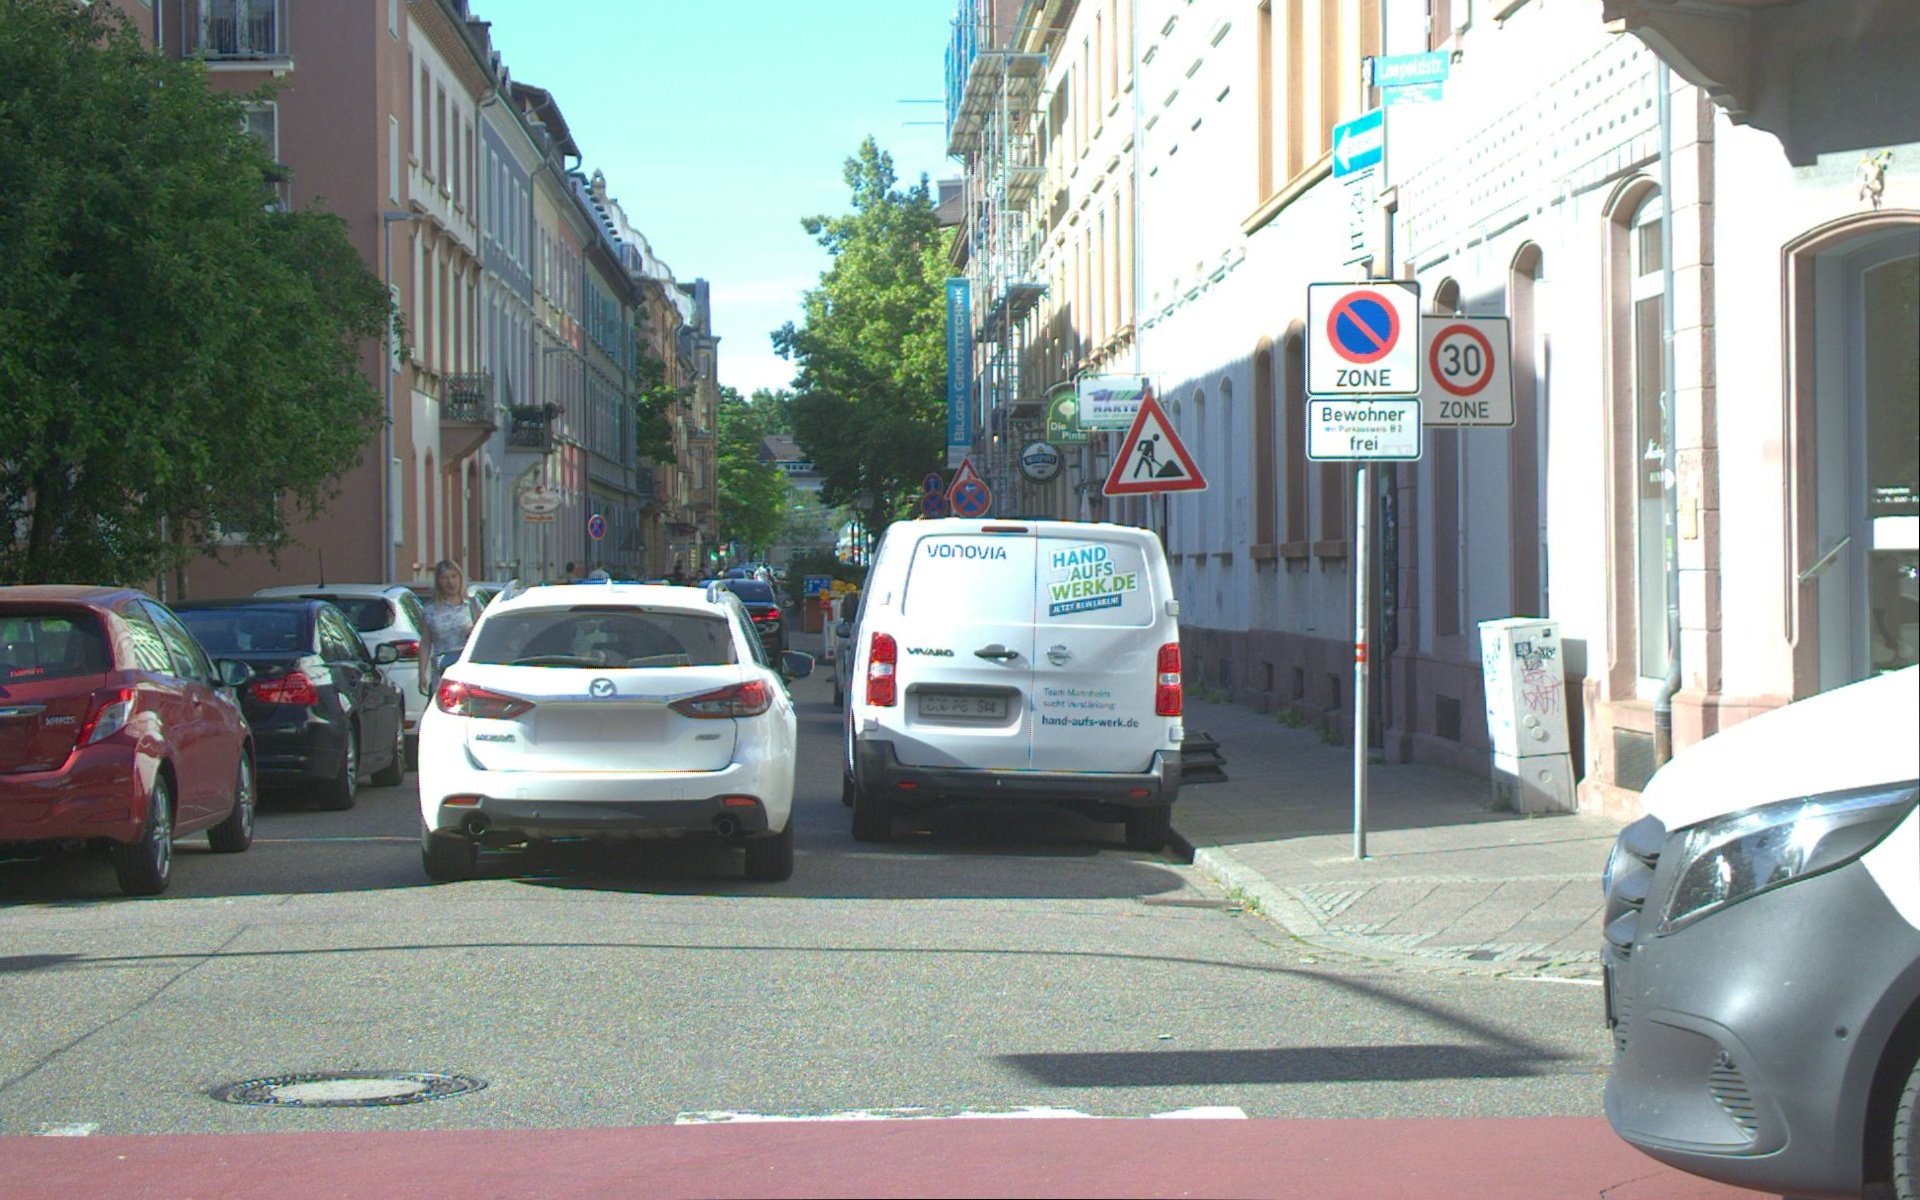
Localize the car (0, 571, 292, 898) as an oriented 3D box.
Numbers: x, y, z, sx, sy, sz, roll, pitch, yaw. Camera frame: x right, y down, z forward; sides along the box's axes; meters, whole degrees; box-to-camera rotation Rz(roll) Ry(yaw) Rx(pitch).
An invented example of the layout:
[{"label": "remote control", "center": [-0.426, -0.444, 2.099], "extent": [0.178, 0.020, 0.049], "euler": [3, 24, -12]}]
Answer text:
[{"label": "car", "center": [-4.658, 0.619, 17.807], "extent": [1.684, 1.495, 3.807], "euler": [-1, 1, -1]}]

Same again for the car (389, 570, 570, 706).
[{"label": "car", "center": [-5.547, 0.407, 40.066], "extent": [1.653, 1.495, 3.763], "euler": [0, 1, -1]}]

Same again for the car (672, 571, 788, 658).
[{"label": "car", "center": [-3.875, 0.219, 58.433], "extent": [1.760, 1.405, 4.328], "euler": [0, 1, -1]}]

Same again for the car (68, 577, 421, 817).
[{"label": "car", "center": [-4.818, 0.597, 23.655], "extent": [1.653, 1.495, 4.080], "euler": [0, 1, -1]}]

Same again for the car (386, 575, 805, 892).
[{"label": "car", "center": [-1.770, 0.623, 17.835], "extent": [1.831, 1.452, 3.962], "euler": [0, 0, -1]}]

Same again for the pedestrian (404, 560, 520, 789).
[{"label": "pedestrian", "center": [-3.582, 0.522, 24.676], "extent": [0.733, 1.608, 0.816], "euler": [-1, 0, -13]}]

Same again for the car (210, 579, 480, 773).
[{"label": "car", "center": [-5.075, 0.583, 28.796], "extent": [1.653, 1.495, 3.763], "euler": [0, 1, -1]}]

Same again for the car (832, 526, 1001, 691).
[{"label": "car", "center": [-0.529, 0.076, 40.616], "extent": [1.894, 1.853, 3.995], "euler": [0, 1, -1]}]

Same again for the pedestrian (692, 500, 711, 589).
[{"label": "pedestrian", "center": [-5.813, -1.250, 77.324], "extent": [0.367, 2.007, 0.216], "euler": [1, 0, 0]}]

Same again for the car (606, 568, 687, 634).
[{"label": "car", "center": [-7.378, 0.005, 81.121], "extent": [1.653, 1.495, 3.763], "euler": [0, 1, -1]}]

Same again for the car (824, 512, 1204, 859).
[{"label": "car", "center": [0.200, 0.446, 21.428], "extent": [1.894, 1.853, 5.015], "euler": [2, 0, -4]}]

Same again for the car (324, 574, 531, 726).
[{"label": "car", "center": [-5.508, 0.480, 35.927], "extent": [1.653, 1.495, 3.763], "euler": [0, 1, -1]}]

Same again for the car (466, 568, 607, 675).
[{"label": "car", "center": [-6.129, 0.283, 50.072], "extent": [1.653, 1.495, 3.763], "euler": [0, 1, -1]}]

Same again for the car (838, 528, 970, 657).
[{"label": "car", "center": [-0.858, -0.130, 52.834], "extent": [1.894, 1.853, 3.995], "euler": [-2, 1, -1]}]

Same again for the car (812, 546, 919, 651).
[{"label": "car", "center": [-1.704, -0.042, 62.600], "extent": [1.894, 1.853, 3.995], "euler": [0, 1, -1]}]

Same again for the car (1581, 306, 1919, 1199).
[{"label": "car", "center": [4.006, 0.408, 6.844], "extent": [5.409, 1.901, 2.107], "euler": [0, 1, 12]}]

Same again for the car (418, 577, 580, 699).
[{"label": "car", "center": [-5.887, 0.456, 44.275], "extent": [1.653, 1.495, 3.763], "euler": [0, 1, -1]}]

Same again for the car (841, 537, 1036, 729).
[{"label": "car", "center": [-0.249, 0.296, 35.317], "extent": [1.894, 1.853, 3.995], "euler": [0, 1, -1]}]
